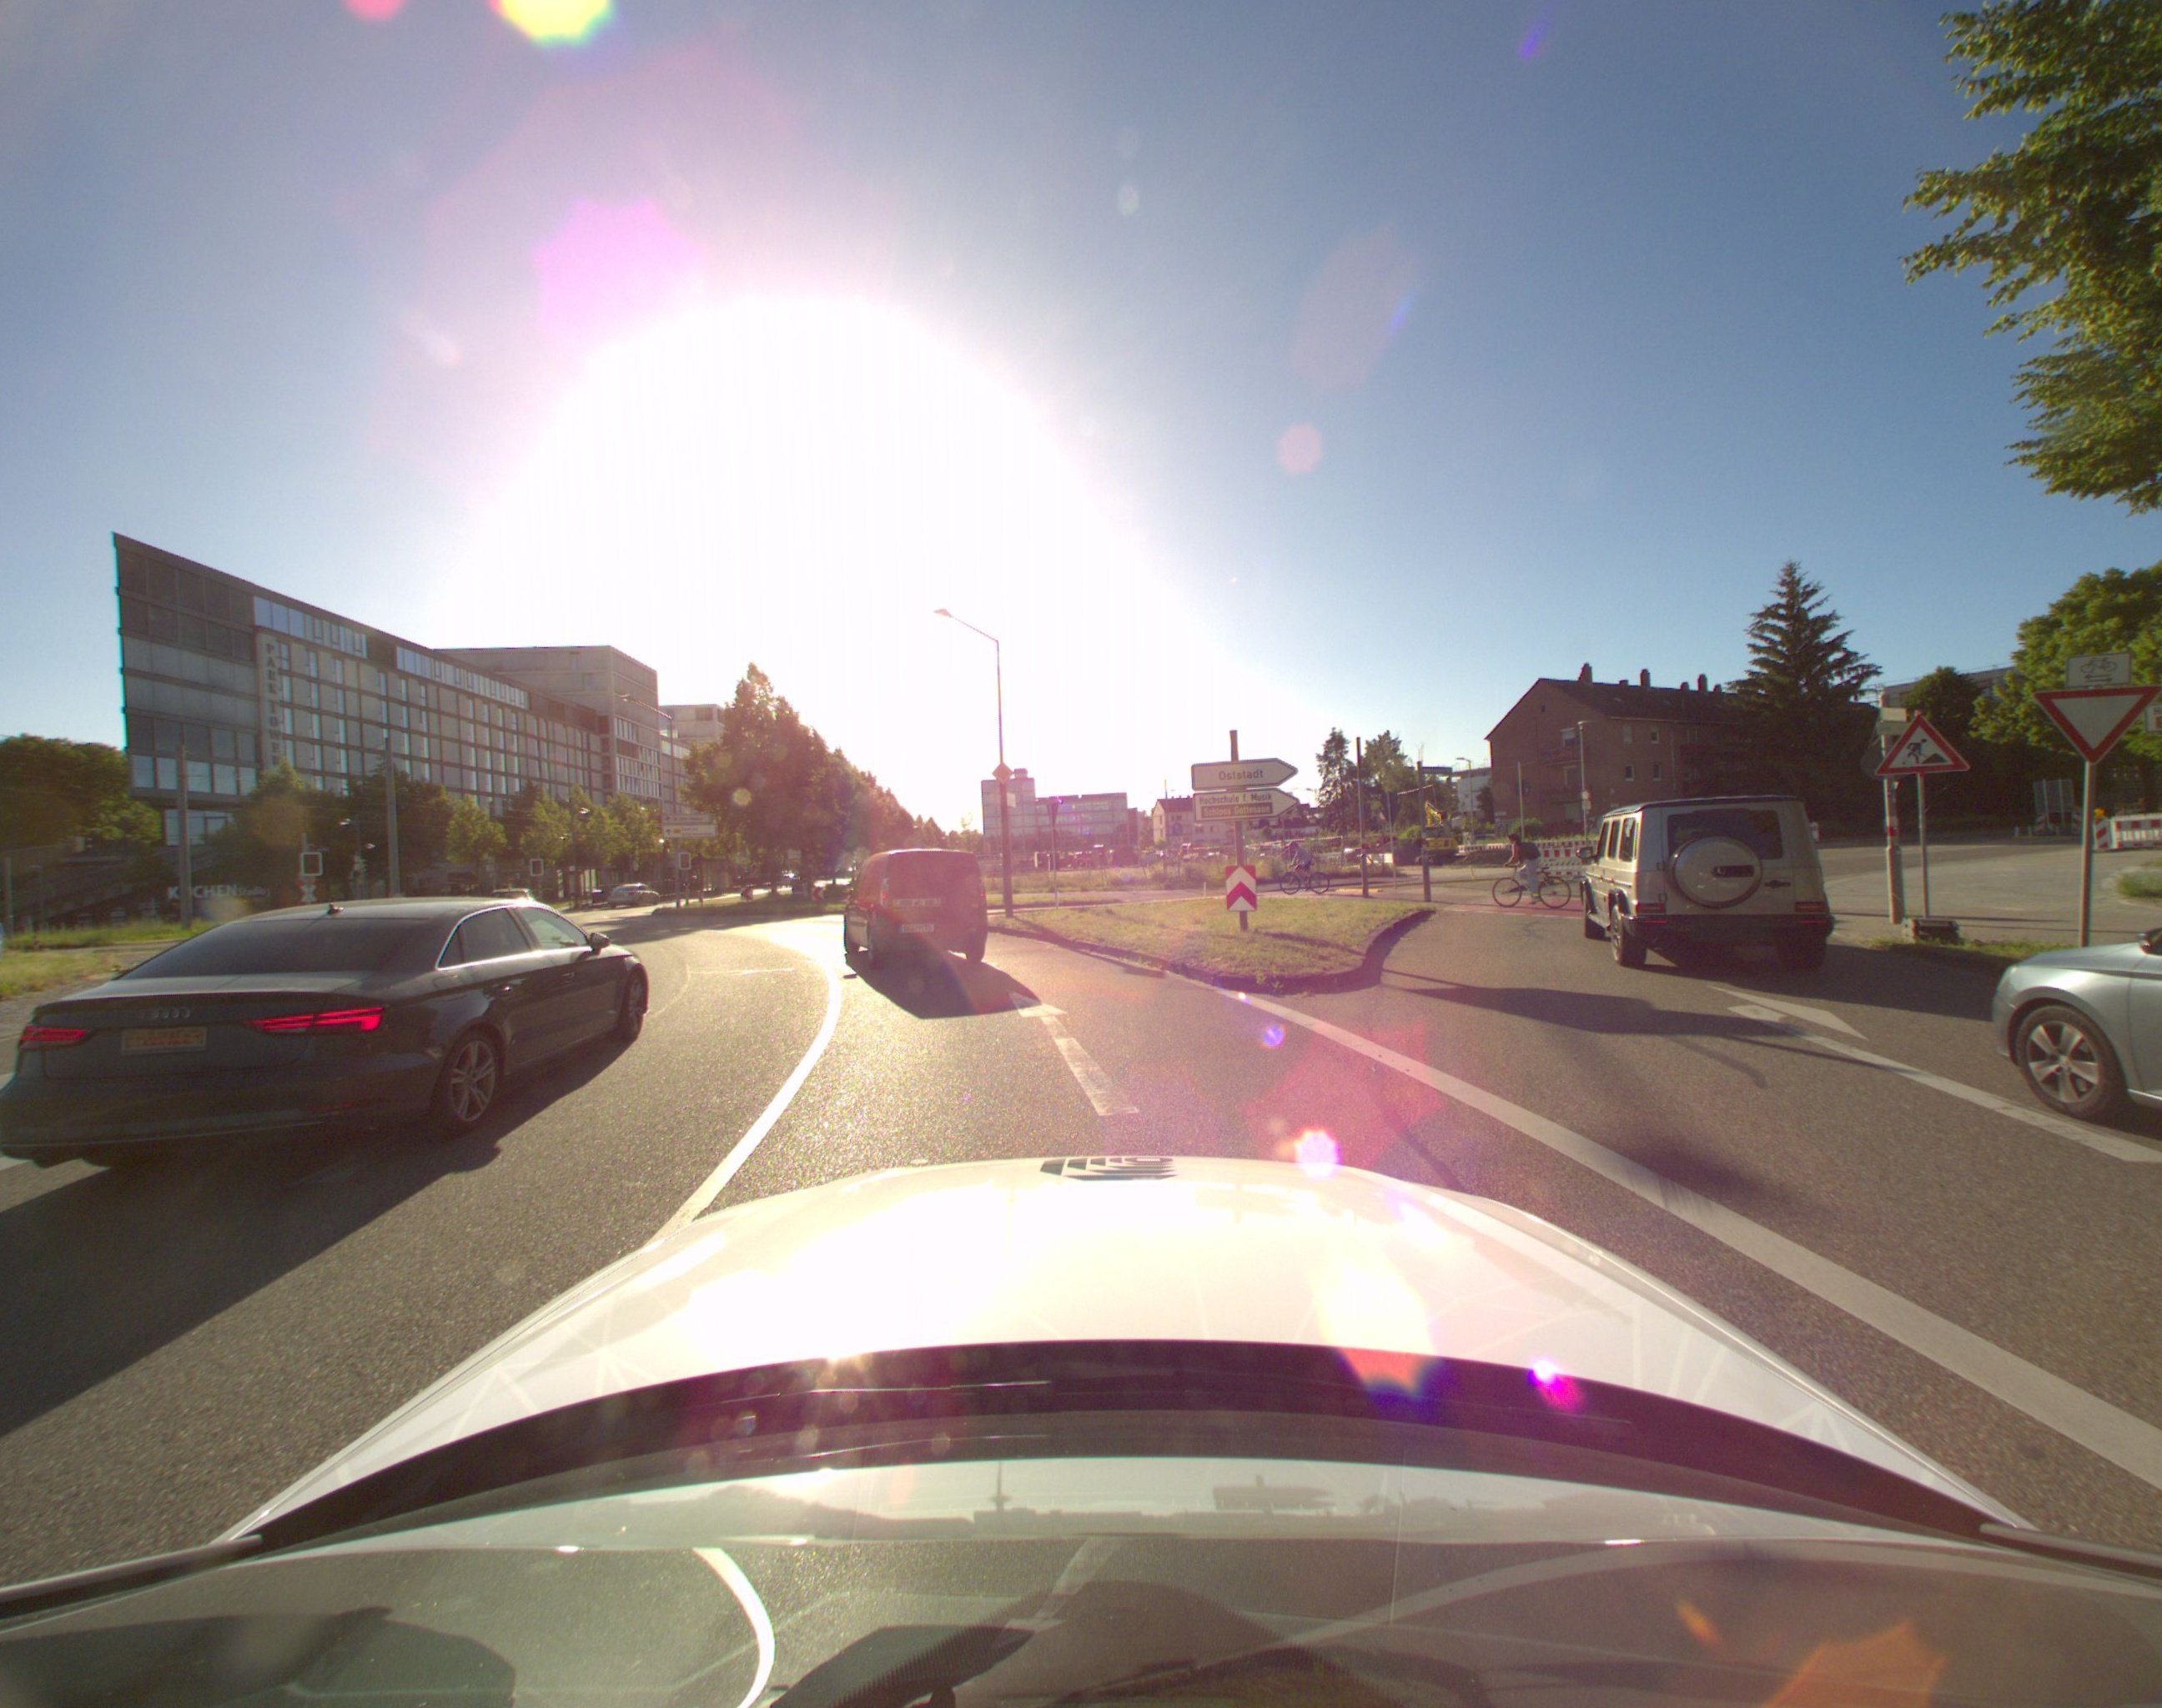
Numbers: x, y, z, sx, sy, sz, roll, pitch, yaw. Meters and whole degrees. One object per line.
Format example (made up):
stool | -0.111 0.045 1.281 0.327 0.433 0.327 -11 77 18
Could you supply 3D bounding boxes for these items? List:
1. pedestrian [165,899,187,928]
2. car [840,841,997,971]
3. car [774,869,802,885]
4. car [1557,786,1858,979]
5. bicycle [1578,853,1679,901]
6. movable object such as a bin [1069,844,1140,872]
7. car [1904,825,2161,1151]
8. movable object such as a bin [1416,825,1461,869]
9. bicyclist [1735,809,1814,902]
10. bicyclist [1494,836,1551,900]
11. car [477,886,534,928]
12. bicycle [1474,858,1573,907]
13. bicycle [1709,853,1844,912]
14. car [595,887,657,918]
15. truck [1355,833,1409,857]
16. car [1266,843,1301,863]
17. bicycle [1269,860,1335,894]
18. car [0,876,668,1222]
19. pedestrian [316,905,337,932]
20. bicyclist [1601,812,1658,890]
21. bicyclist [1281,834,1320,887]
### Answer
pedestrian | -64.968 4.259 58.470 0.637 2.013 0.833 -3 0 -5
car | -2.861 0.774 13.660 1.811 1.813 3.779 -1 -1 -23
car | -33.754 2.646 94.016 1.991 1.575 4.398 -3 0 -7
car | 7.663 0.283 10.587 1.979 1.897 4.780 -2 0 24
bicycle | 12.579 0.515 18.768 0.662 1.027 1.806 -1 0 -30
movable object such as a bin | 2.690 0.471 94.757 7.890 2.782 2.940 -3 0 -4
car | 5.467 0.579 2.892 1.701 1.436 4.169 -2 0 16
movable object such as a bin | 23.368 -0.453 53.423 2.399 2.773 4.020 -1 0 20
bicyclist | 12.884 0.023 15.145 0.660 1.665 0.893 -1 0 -19
bicyclist | 9.750 0.304 18.004 0.664 1.385 0.923 -1 0 -44
car | -24.534 2.221 34.812 1.816 1.461 3.769 -2 1 -34
bicycle | 9.763 0.620 18.015 0.664 1.027 1.801 -1 0 -44
bicycle | 12.895 0.507 15.174 0.660 1.027 1.812 -1 0 -19
car | -29.278 3.100 52.593 1.993 1.575 4.395 -3 0 -9
truck | 26.867 -0.772 73.008 2.159 2.013 6.429 -1 0 -3
car | 21.955 -0.114 88.519 1.993 2.013 4.484 -1 0 -10
bicycle | 7.289 0.753 26.921 0.746 1.027 1.987 -5 2 -38
car | -4.695 0.944 5.895 1.760 1.380 4.344 -2 0 -10
pedestrian | -42.916 3.647 46.331 0.554 1.466 0.675 -2 -1 -9
bicyclist | 12.587 -0.059 18.710 0.656 1.730 0.805 -2 -1 -29
bicyclist | 7.248 0.225 26.889 0.746 1.680 0.844 -5 2 -38
